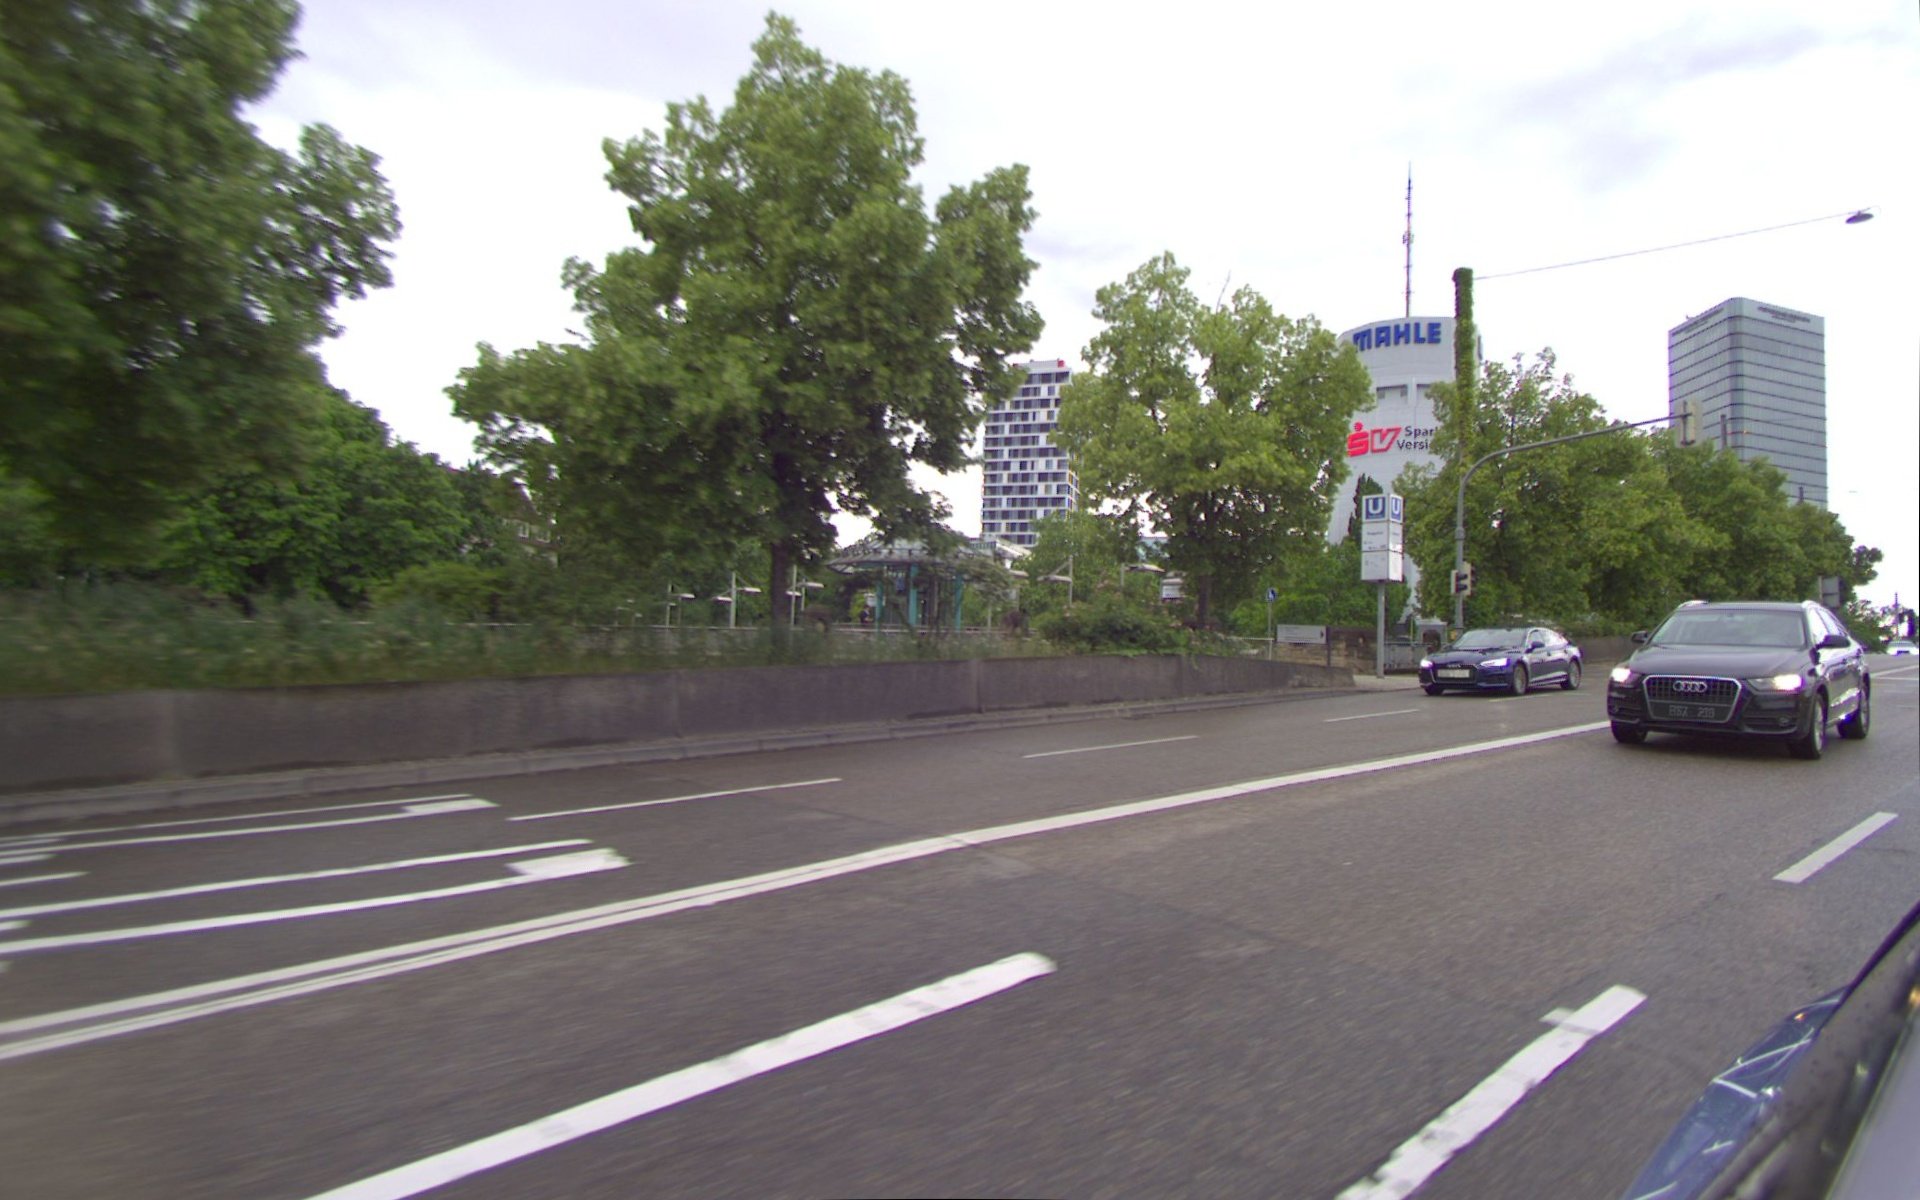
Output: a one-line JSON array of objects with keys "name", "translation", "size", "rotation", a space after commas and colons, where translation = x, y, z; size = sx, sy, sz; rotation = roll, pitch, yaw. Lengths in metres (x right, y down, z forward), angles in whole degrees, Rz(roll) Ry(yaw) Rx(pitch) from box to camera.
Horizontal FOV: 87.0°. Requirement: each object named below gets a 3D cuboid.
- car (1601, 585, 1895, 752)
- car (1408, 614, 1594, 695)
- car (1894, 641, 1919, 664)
[{"name": "car", "translation": [8.952, 0.687, 11.387], "size": [4.052, 1.554, 1.729], "rotation": [1, -2, -39]}, {"name": "car", "translation": [11.189, 1.055, 20.816], "size": [4.270, 1.444, 1.875], "rotation": [0, -1, -40]}, {"name": "car", "translation": [67.888, 3.776, 72.218], "size": [1.629, 1.495, 3.620], "rotation": [-1, -4, 41]}]
